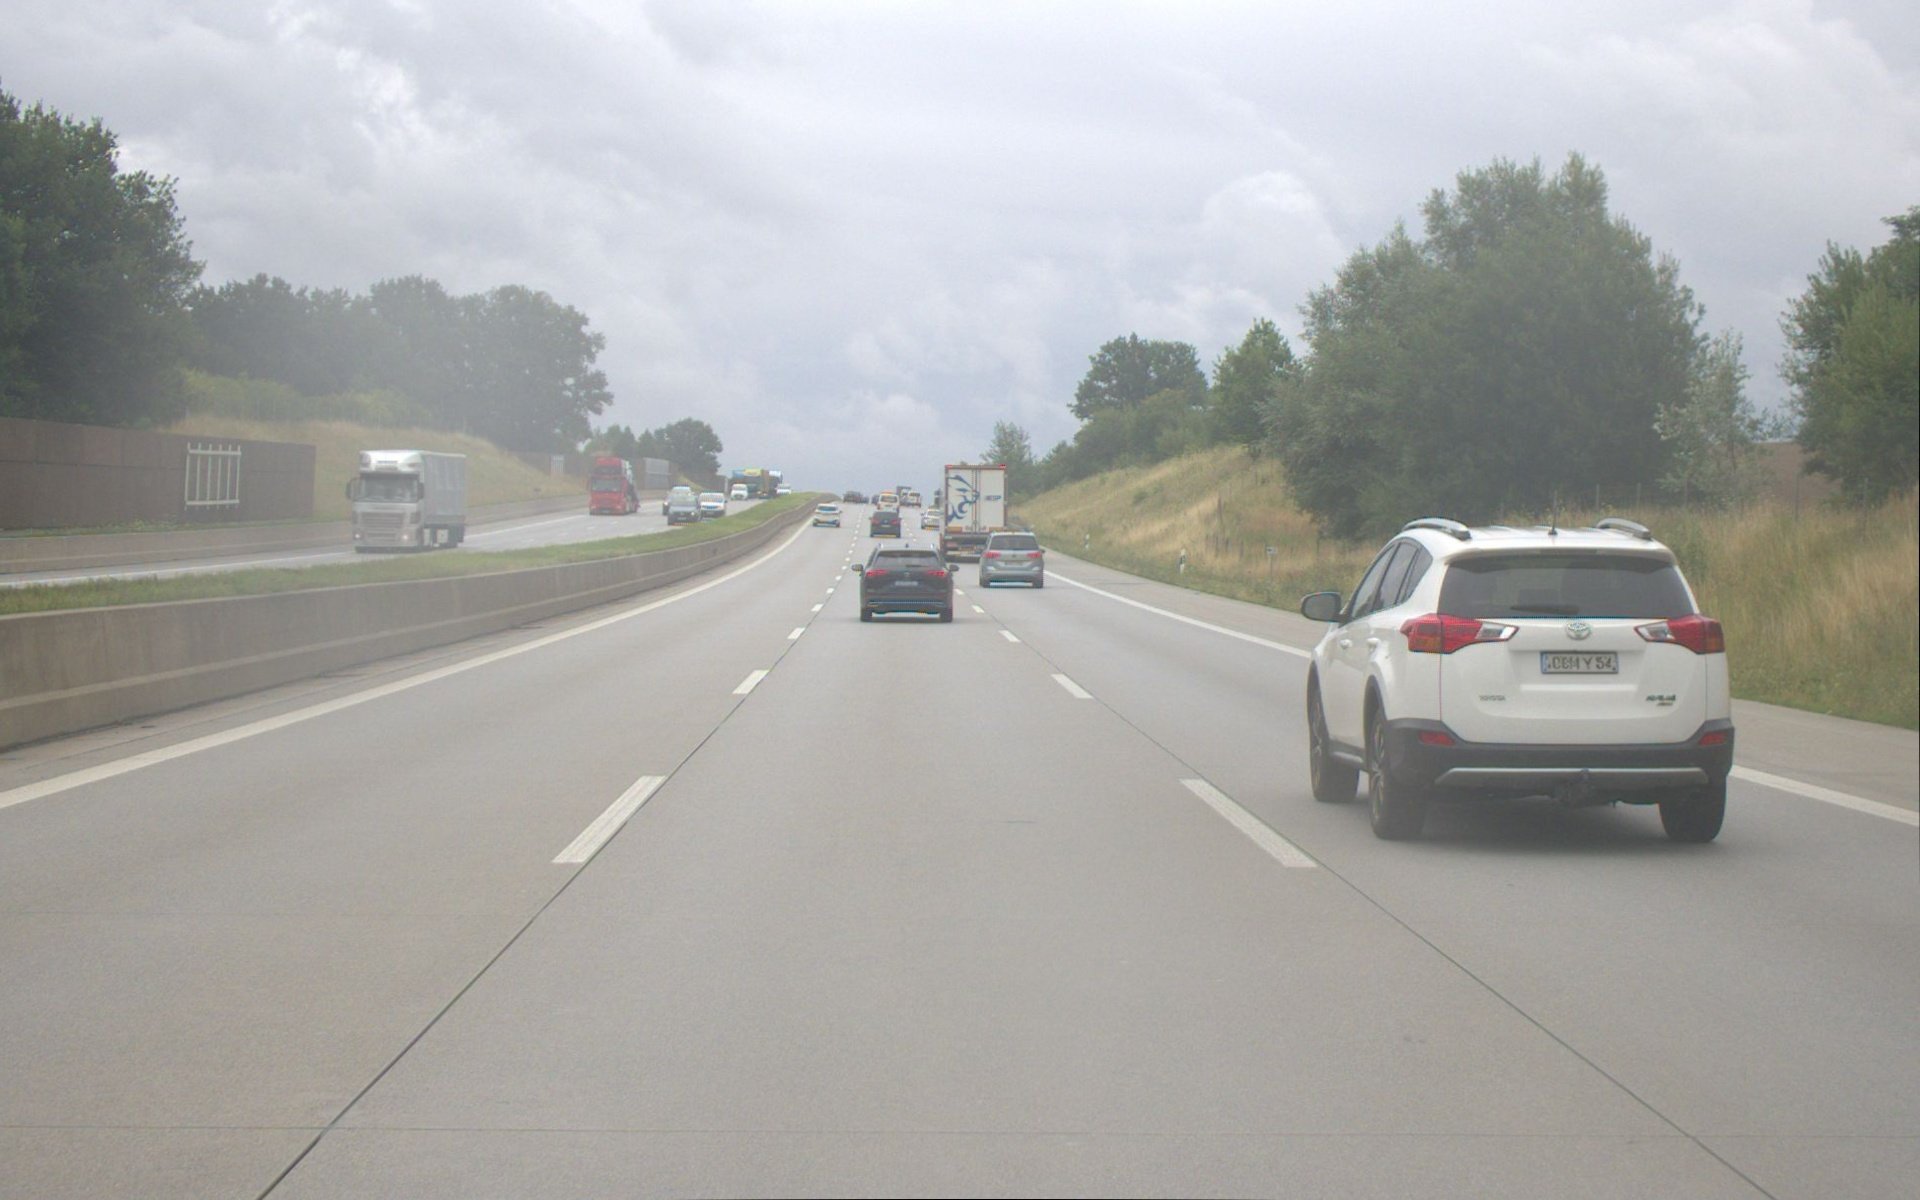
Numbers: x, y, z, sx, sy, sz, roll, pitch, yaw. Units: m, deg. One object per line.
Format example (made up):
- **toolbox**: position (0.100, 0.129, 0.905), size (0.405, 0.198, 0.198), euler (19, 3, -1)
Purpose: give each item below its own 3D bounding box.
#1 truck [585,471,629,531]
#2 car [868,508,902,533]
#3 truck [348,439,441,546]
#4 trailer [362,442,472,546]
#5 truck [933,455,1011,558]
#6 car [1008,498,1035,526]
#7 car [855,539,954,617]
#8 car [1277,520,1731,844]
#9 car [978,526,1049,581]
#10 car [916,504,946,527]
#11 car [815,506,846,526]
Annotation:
- **truck**: position (-25.446, -7.124, 247.858), size (2.552, 4.237, 7.465), euler (1, 1, -2)
- **car**: position (-4.588, -4.857, 209.631), size (1.935, 1.370, 4.594), euler (1, 0, 0)
- **truck**: position (-22.342, -4.202, 136.097), size (2.682, 4.069, 6.217), euler (1, 1, -1)
- **trailer**: position (-22.563, -4.352, 143.478), size (2.696, 4.082, 14.007), euler (1, 1, -2)
- **truck**: position (0.463, -3.929, 145.573), size (3.017, 4.166, 8.355), euler (1, 1, -1)
- **car**: position (4.634, -6.667, 260.319), size (1.993, 2.007, 4.000), euler (1, 1, 1)
- **car**: position (-1.077, -0.431, 64.927), size (1.752, 1.393, 4.484), euler (1, 1, -2)
- **car**: position (3.000, 0.396, 19.793), size (1.825, 1.650, 3.985), euler (1, 1, -2)
- **car**: position (1.558, -1.363, 100.143), size (1.993, 1.525, 4.000), euler (1, 1, 1)
- **car**: position (-2.081, -6.055, 246.190), size (1.993, 1.634, 4.000), euler (1, 1, 1)
- **car**: position (-8.819, -5.713, 234.256), size (1.947, 1.351, 4.260), euler (1, 1, 0)
